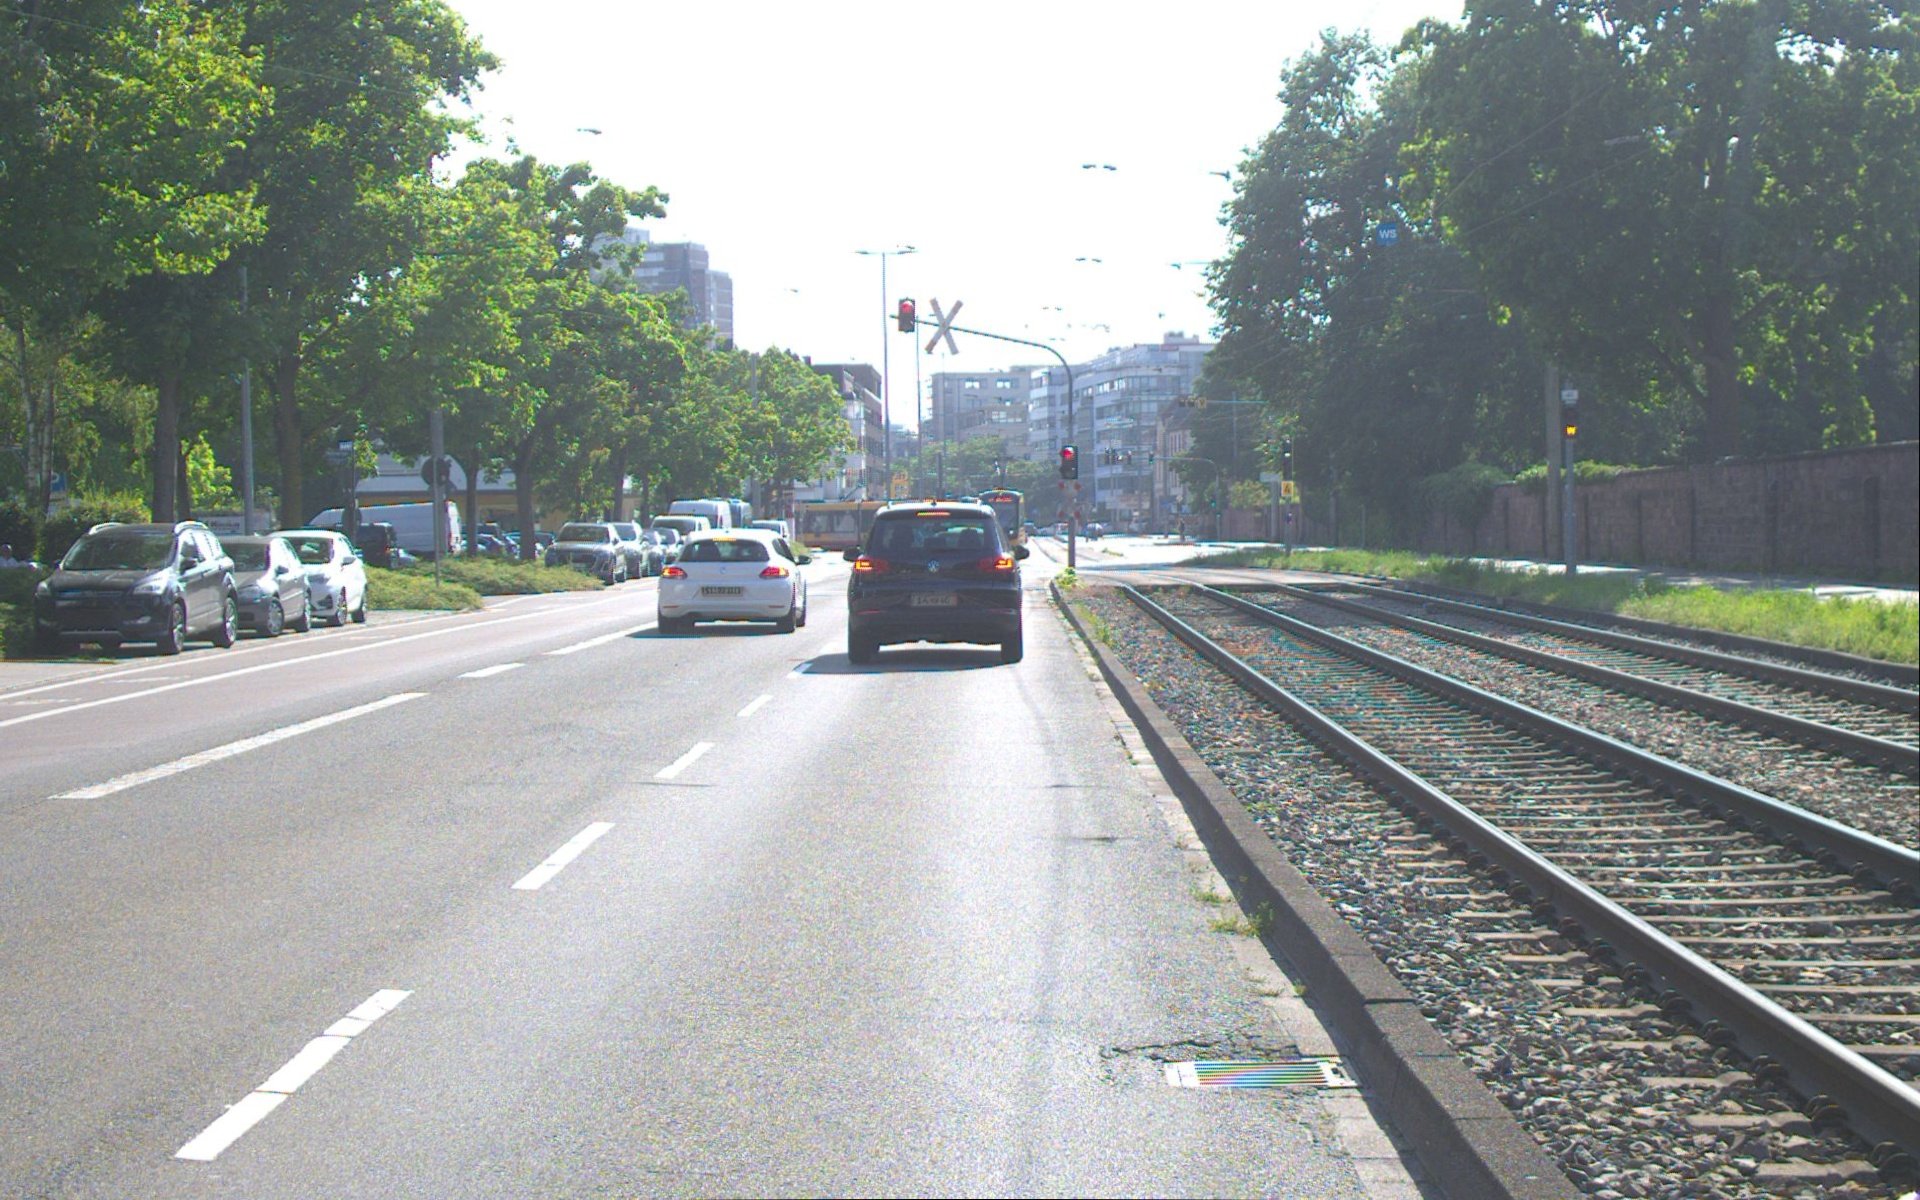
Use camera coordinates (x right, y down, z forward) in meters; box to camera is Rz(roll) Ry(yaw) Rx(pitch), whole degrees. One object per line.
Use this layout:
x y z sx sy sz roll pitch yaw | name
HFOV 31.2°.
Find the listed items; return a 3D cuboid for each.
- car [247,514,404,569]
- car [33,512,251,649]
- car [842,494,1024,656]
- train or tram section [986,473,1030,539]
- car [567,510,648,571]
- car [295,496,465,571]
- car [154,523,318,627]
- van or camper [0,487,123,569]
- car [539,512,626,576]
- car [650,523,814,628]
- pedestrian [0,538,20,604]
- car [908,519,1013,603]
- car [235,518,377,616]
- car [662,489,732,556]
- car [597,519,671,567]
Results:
-20.185 -1.872 109.512 4.617 1.646 2.049 -1 1 -1 | car
-10.783 -0.301 45.610 1.712 1.688 4.422 -1 2 1 | car
-0.236 -0.291 36.609 1.811 1.639 4.000 0 1 1 | car
2.703 -5.263 192.987 2.326 3.557 8.900 -1 2 1 | train or tram section
-10.231 -1.748 99.906 1.732 1.688 4.000 -1 2 3 | car
-19.805 -2.275 117.518 5.375 2.415 2.087 -1 1 1 | car
-10.794 -0.401 51.485 1.677 1.463 3.969 -1 1 -1 | car
-33.383 -2.556 122.577 6.464 2.858 2.307 -1 1 2 | van or camper
-10.326 -1.553 94.241 1.732 1.652 4.000 -1 2 3 | car
-3.048 -0.363 46.579 1.865 1.343 4.000 0 2 1 | car
-17.730 -0.530 63.729 0.445 1.213 0.390 -1 1 9 | pedestrian
0.043 -0.727 61.957 1.811 1.444 4.000 1 2 1 | car
-10.833 -0.581 57.122 1.600 1.545 3.895 1 2 0 | car
-9.470 -2.797 124.065 1.863 2.339 4.985 -1 2 3 | car
-10.054 -1.773 106.214 1.732 1.384 3.735 -1 2 3 | car
